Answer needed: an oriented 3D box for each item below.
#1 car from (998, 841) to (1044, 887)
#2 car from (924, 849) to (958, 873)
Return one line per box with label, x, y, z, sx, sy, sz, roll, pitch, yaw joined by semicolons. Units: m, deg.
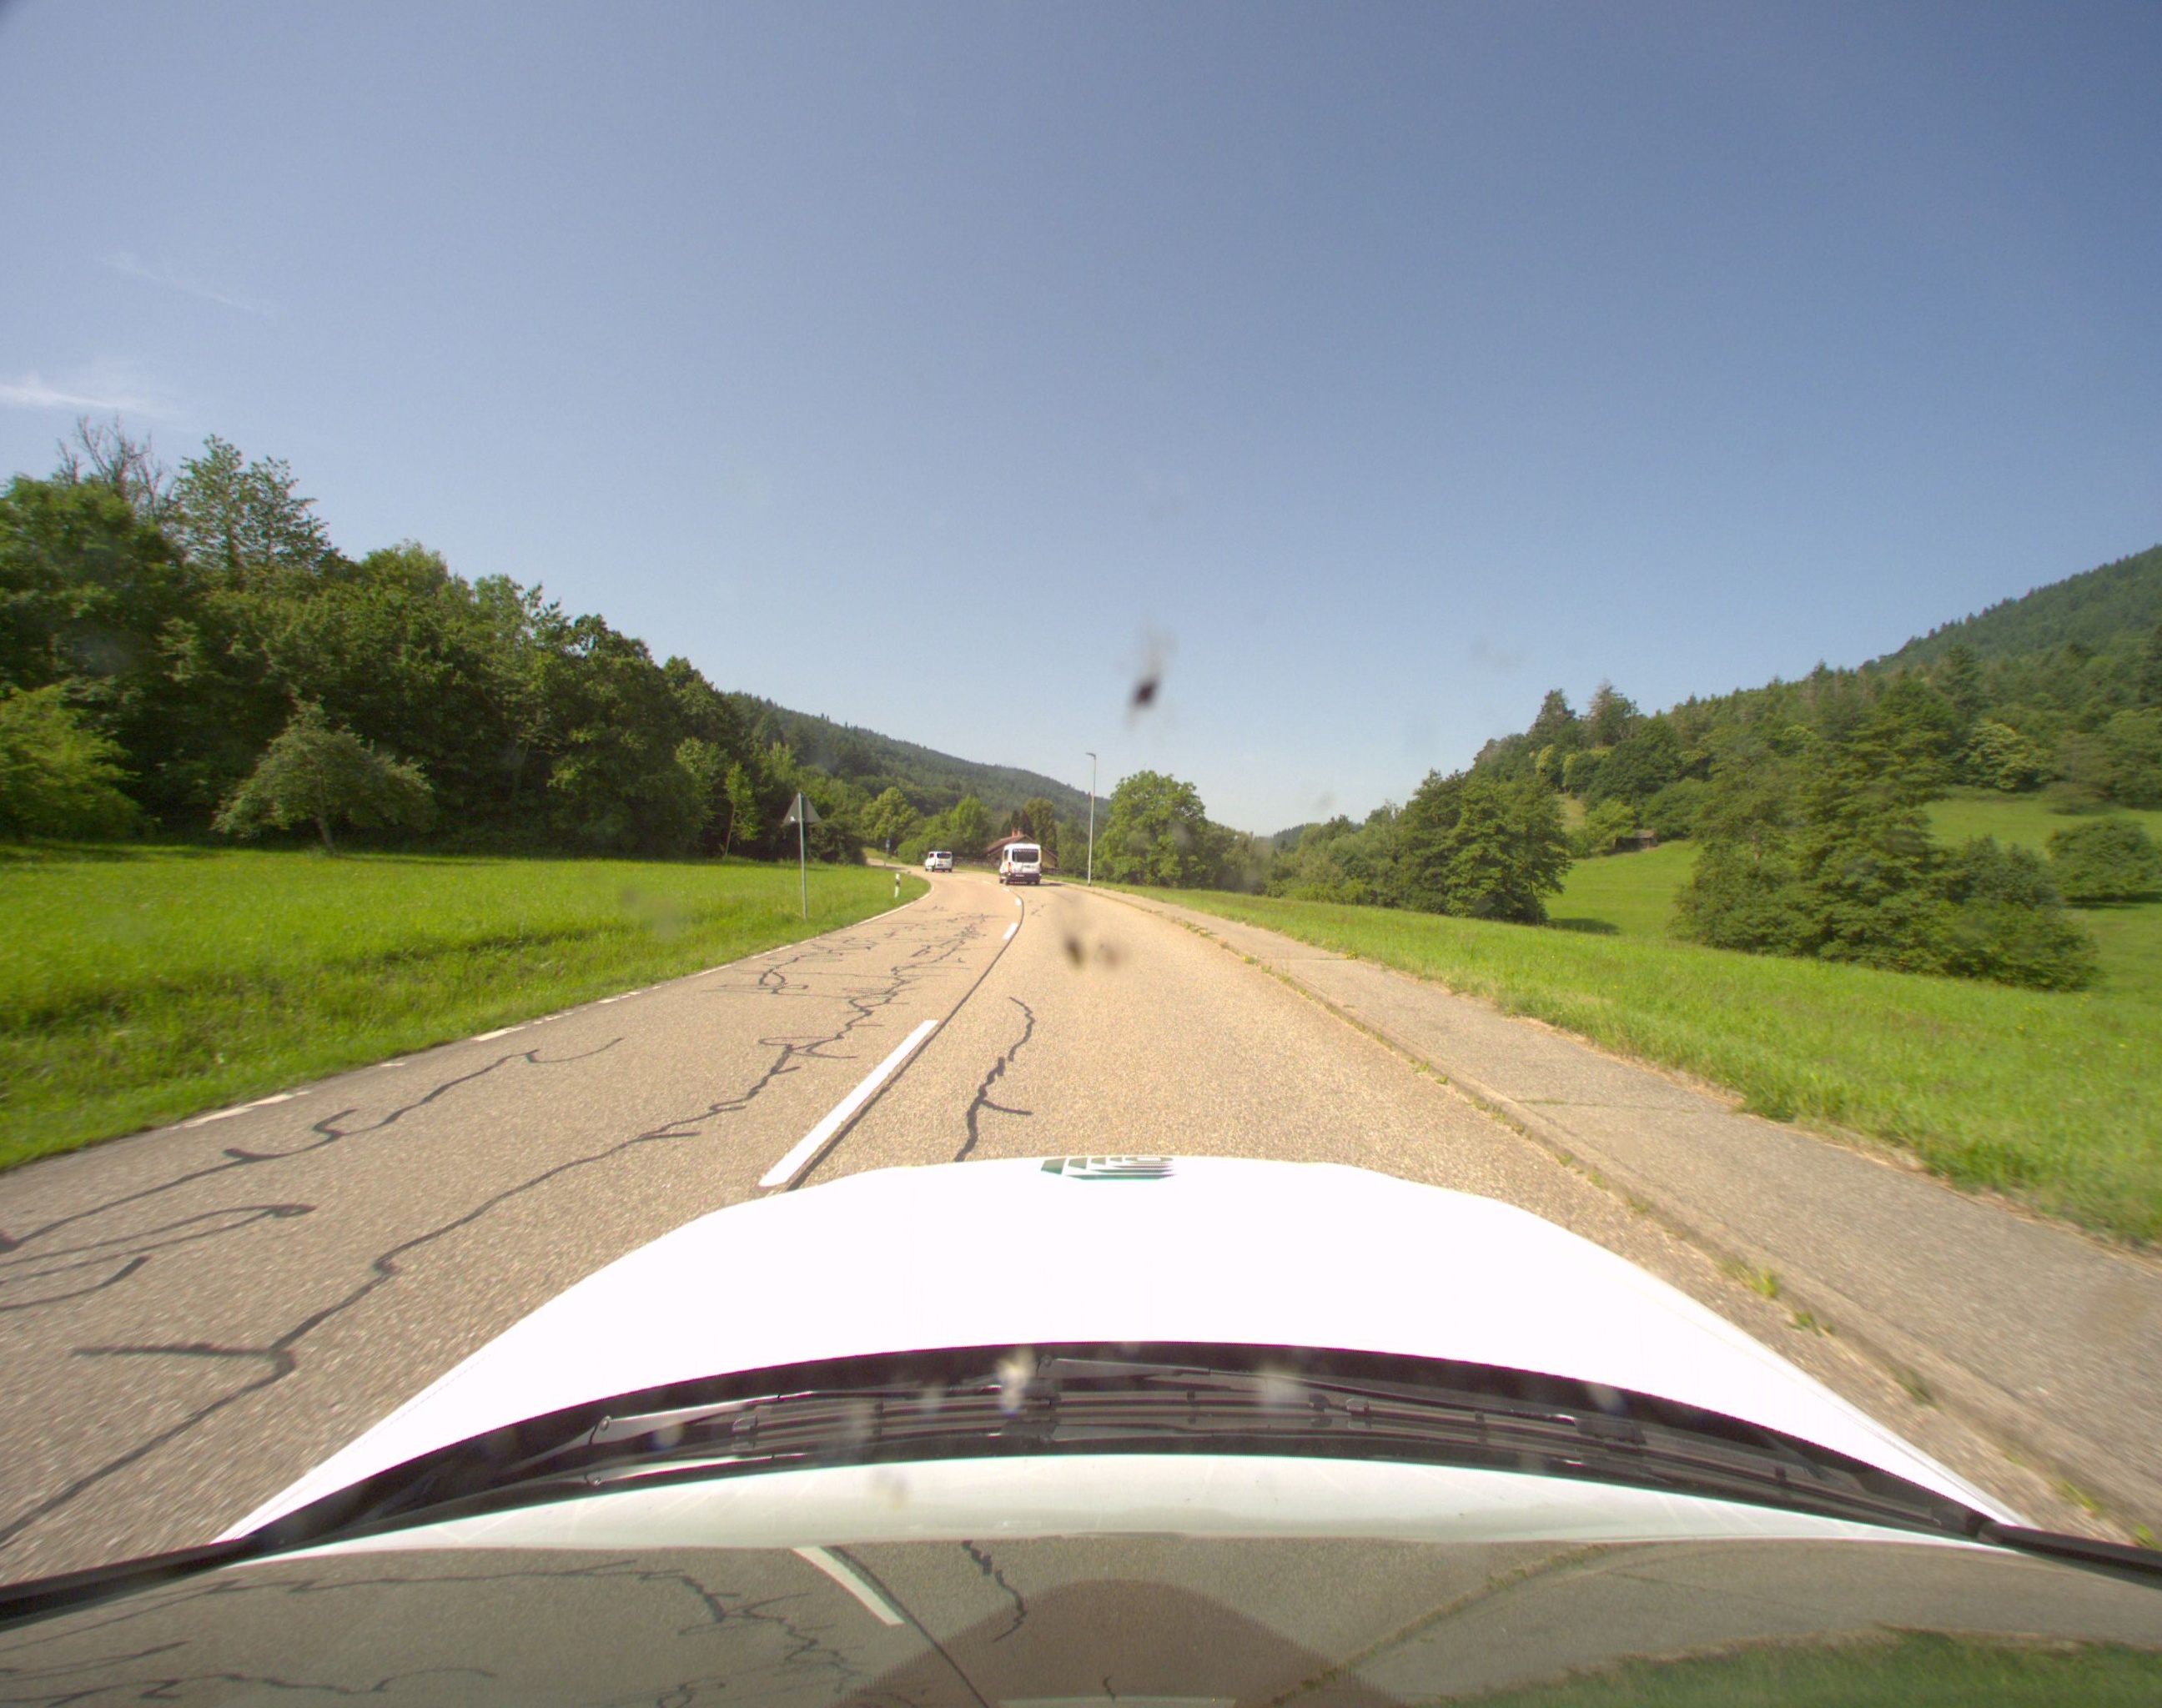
car;-3.719;0.603;49.485;2.223;2.525;4.966;-2;0;-10
car;-13.836;0.728;80.194;2.232;2.287;4.946;-2;-1;-23
